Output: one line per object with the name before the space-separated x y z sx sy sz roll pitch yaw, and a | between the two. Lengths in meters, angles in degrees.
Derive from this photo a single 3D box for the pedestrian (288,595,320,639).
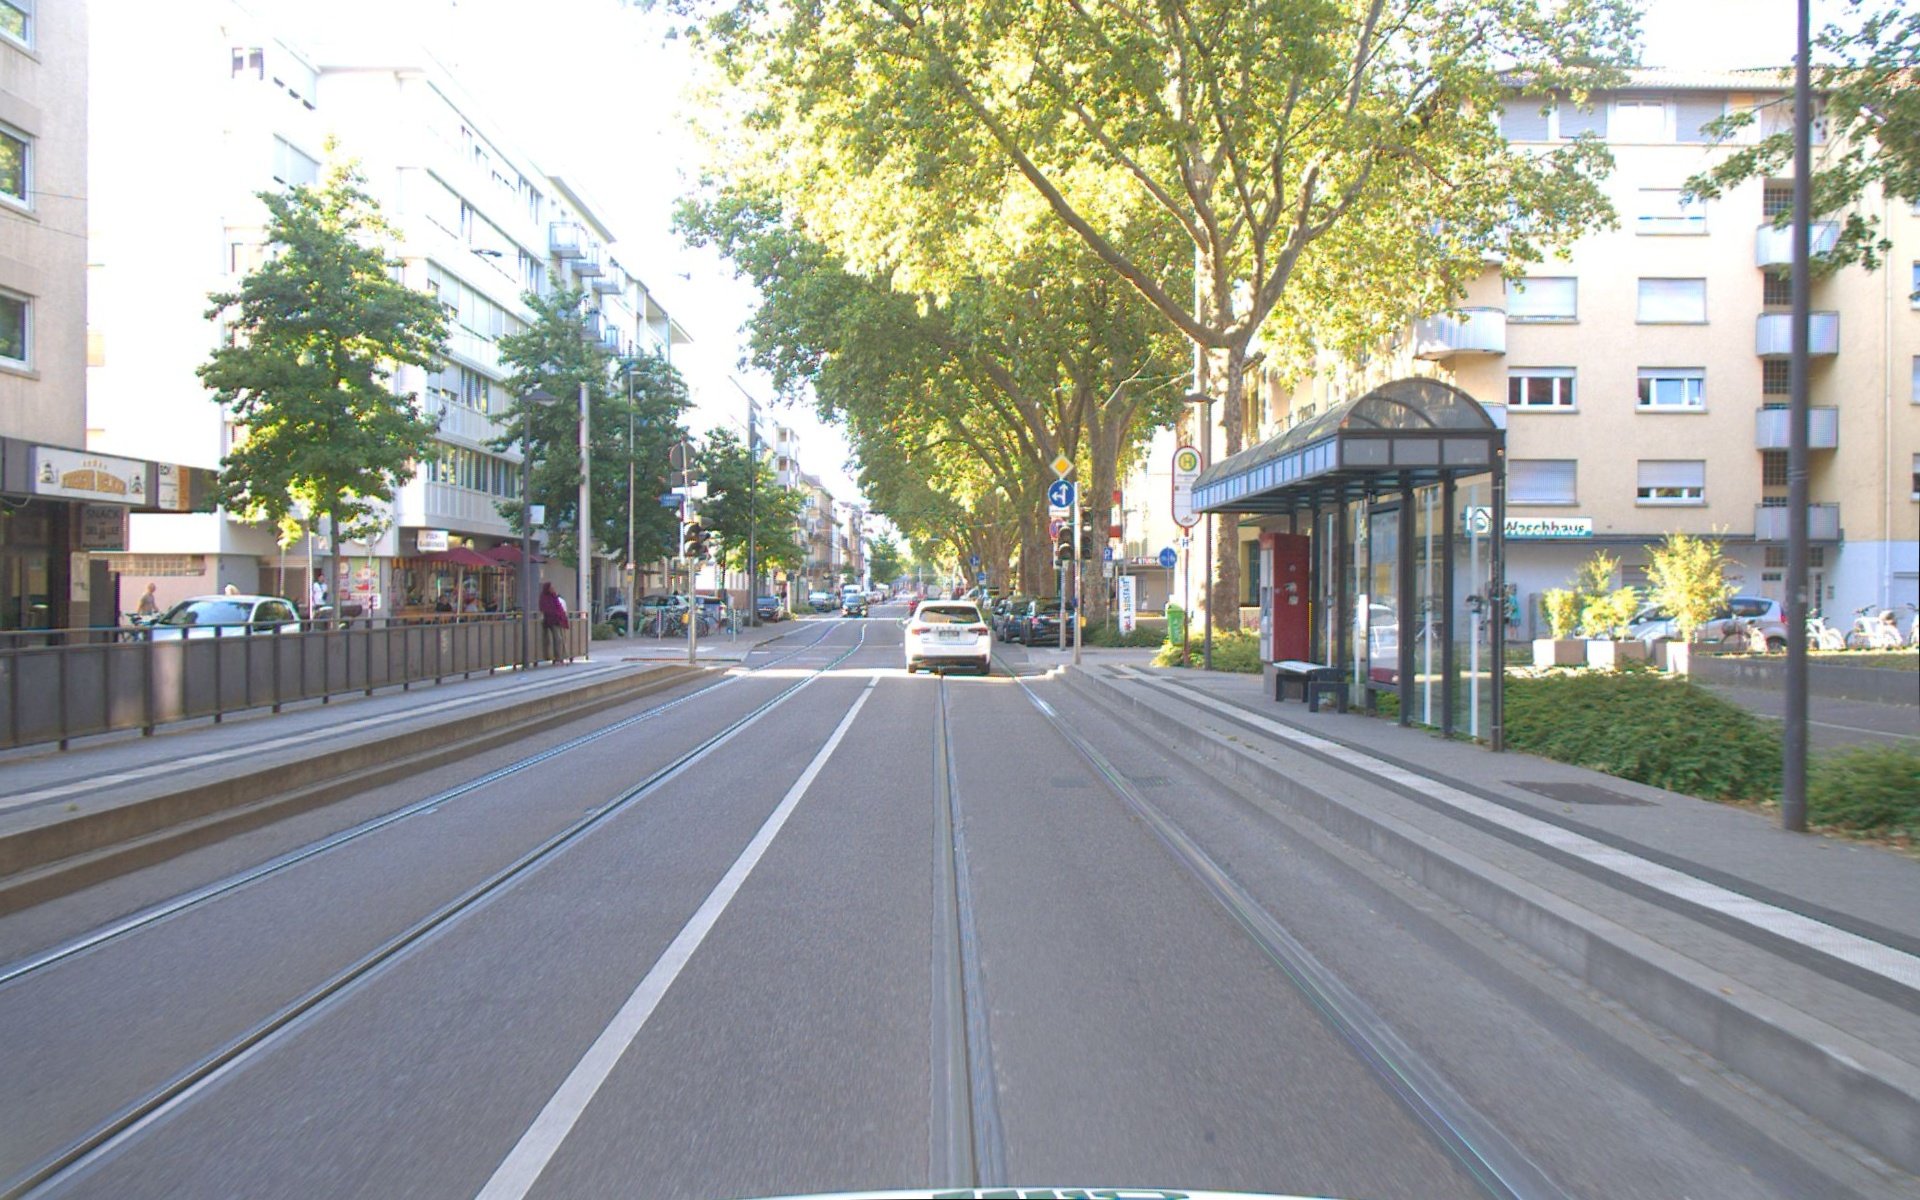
pedestrian | -19.176 0.484 48.350 0.741 1.263 0.759 0 0 -35

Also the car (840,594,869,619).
car | -7.303 0.410 114.660 1.834 1.617 4.144 2 0 -3

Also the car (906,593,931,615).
car | -2.995 0.281 119.770 1.726 1.501 4.000 0 0 -1

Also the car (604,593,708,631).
car | -12.580 0.496 68.573 3.931 1.501 1.851 1 0 -1

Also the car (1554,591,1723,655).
car | 18.307 0.598 44.728 3.783 1.579 1.866 0 3 -1

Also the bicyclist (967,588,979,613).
bicyclist | 0.767 0.030 96.592 0.664 1.468 1.047 0 0 0

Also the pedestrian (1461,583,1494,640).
pedestrian | 15.571 0.345 49.763 0.693 1.712 0.655 0 0 -28

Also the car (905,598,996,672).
car | -0.240 0.675 33.996 1.726 1.408 3.998 0 0 -2

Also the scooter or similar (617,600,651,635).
scooter or similar | -11.450 0.615 58.107 1.058 1.197 0.498 1 -1 -3

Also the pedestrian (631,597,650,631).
pedestrian | -12.849 0.554 66.483 0.700 1.320 0.908 0 0 -15

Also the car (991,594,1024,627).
car | 2.264 0.522 79.645 1.531 1.545 2.910 -1 -1 1

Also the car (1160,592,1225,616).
car | 15.823 0.286 112.762 4.052 1.621 1.997 0 0 -6

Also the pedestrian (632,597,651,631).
pedestrian | -12.562 0.553 65.249 0.700 1.320 0.744 0 0 -15

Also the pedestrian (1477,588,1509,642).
pedestrian | 15.678 0.429 48.660 0.690 1.566 0.687 0 0 40

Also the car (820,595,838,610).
car | -12.782 0.203 161.599 1.620 1.462 3.835 0 0 -3

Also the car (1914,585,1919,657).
car | 25.008 0.498 39.174 3.783 1.722 1.865 0 0 -1

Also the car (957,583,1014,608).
car | 2.777 -0.486 181.280 6.008 2.681 2.528 0 0 -3

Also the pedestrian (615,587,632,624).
pedestrian | -15.952 0.252 78.390 0.650 1.720 0.748 0 0 -3

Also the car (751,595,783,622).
car | -11.313 0.475 96.699 1.681 1.489 3.993 3 0 -8

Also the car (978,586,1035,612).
car | 3.769 -0.084 134.306 4.453 2.113 1.999 0 0 -4

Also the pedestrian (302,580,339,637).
pedestrian | -19.104 0.262 49.409 0.731 1.688 0.769 0 0 12

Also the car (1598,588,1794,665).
car | 17.218 0.607 38.816 3.783 1.722 1.865 0 0 -1

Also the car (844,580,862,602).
car | -14.295 -1.209 221.184 2.295 2.911 3.999 0 0 -1

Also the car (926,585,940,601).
car | -4.104 -1.109 255.796 2.157 2.429 3.999 0 0 -1

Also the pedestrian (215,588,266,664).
pedestrian | -15.315 0.546 35.208 0.709 1.583 0.726 0 0 8

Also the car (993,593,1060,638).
car | 2.280 0.509 57.785 1.828 1.462 4.222 -1 0 -4

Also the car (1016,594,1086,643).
car | 2.849 0.566 52.780 1.729 1.488 5.009 0 0 -3

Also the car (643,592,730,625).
car | -13.242 0.403 80.192 3.933 1.501 1.850 1 0 -4

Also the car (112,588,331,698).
car | -12.346 0.662 27.965 1.840 1.680 4.356 -1 0 -2

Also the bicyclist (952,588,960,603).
bicyclist | -0.360 -0.382 146.601 0.636 1.367 0.934 0 0 -3

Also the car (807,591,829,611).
car | -12.519 0.088 146.037 1.668 1.679 4.239 2 0 -3
